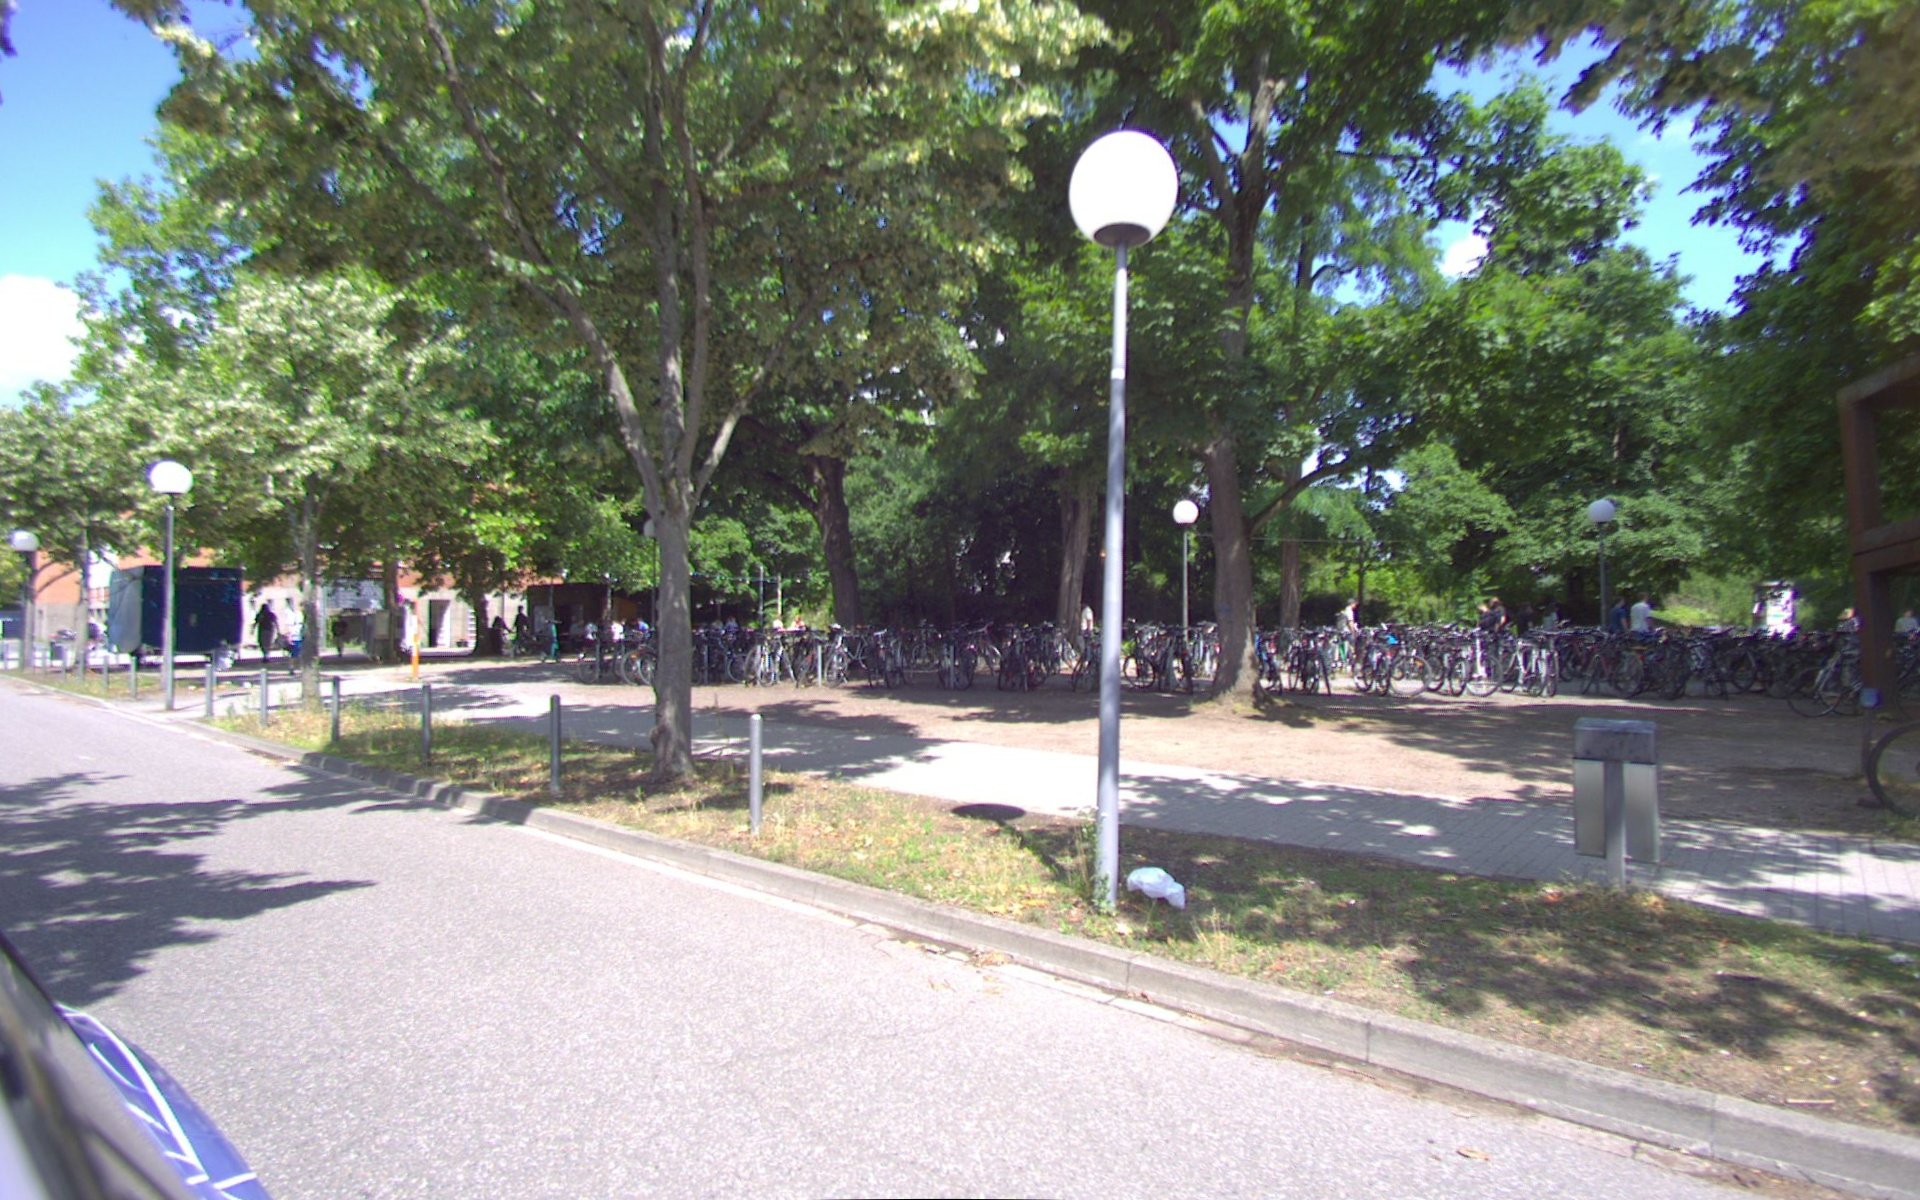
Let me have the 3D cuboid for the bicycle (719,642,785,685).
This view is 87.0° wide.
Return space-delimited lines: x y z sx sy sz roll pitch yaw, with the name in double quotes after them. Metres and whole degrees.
-5.412 1.640 26.462 0.535 1.035 1.947 -1 -1 30 "bicycle"

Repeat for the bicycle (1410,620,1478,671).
11.257 1.039 23.642 0.726 1.117 2.300 -1 -1 7 "bicycle"

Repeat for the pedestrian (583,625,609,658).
-14.112 1.600 39.217 0.733 1.243 0.594 -2 -2 6 "pedestrian"

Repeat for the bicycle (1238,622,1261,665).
8.507 1.263 29.703 0.421 1.216 1.783 -1 -1 23 "bicycle"

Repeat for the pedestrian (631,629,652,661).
-13.399 1.894 42.525 0.559 1.333 0.638 -2 -3 42 "pedestrian"

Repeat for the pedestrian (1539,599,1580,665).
15.350 0.815 25.920 0.685 1.683 0.555 -1 -1 6 "pedestrian"

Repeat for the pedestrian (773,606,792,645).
-6.531 0.942 37.169 0.458 1.433 0.501 -1 -1 31 "pedestrian"

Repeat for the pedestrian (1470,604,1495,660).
14.593 0.885 28.253 0.481 1.538 0.408 -1 -1 10 "pedestrian"

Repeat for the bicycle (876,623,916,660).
-2.001 1.292 32.050 0.592 1.099 1.946 0 -1 18 "bicycle"

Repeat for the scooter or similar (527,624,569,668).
-12.198 1.341 29.950 1.241 1.255 0.691 -1 -1 41 "scooter or similar"

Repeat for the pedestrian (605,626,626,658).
-14.173 1.729 41.656 0.693 1.281 0.554 -2 -2 41 "pedestrian"

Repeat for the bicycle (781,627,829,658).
-5.078 1.381 33.256 0.544 0.949 1.866 0 -1 27 "bicycle"

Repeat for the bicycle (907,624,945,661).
-1.051 1.322 31.894 0.592 1.099 1.946 0 -1 18 "bicycle"

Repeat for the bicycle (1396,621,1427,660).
12.557 1.116 28.204 0.502 1.043 2.050 -1 -1 17 "bicycle"

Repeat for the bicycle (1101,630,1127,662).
4.690 1.383 30.751 0.416 0.900 1.755 -1 -1 20 "bicycle"

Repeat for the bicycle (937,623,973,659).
-0.141 1.287 32.175 0.592 1.099 1.946 0 -1 18 "bicycle"

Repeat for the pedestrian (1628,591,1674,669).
17.462 0.757 25.578 0.688 1.948 0.647 -1 -1 6 "pedestrian"

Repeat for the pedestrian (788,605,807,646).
-6.097 0.945 37.952 0.472 1.534 0.502 -1 -1 30 "pedestrian"

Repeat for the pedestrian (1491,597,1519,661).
14.800 0.786 27.490 0.539 1.727 0.412 -1 -1 10 "pedestrian"

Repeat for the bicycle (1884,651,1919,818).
6.853 0.840 6.118 1.807 1.033 0.379 -1 -2 29 "bicycle"

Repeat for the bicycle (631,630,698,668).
-8.244 1.357 28.318 0.537 1.022 1.783 -2 -2 43 "bicycle"

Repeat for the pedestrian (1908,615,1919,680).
30.258 1.499 31.775 0.525 2.029 0.577 0 -1 -35 "pedestrian"

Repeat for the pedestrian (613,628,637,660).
-14.263 1.874 43.054 0.778 1.333 0.680 -2 -3 42 "pedestrian"

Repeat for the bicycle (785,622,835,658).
-4.923 1.303 33.337 0.594 1.099 1.940 0 -1 27 "bicycle"

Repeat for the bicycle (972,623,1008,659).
0.962 1.274 31.953 0.592 1.099 1.946 0 -1 18 "bicycle"

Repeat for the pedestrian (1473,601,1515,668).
13.696 0.874 25.987 0.721 1.683 0.631 -1 -1 6 "pedestrian"

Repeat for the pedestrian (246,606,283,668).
-22.746 1.192 33.092 0.906 1.969 0.894 -1 0 -40 "pedestrian"

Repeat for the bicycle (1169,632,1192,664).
6.621 1.427 30.357 0.416 0.900 1.755 -1 -1 20 "bicycle"

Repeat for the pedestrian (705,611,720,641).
-9.716 1.014 39.712 0.505 1.148 0.333 -1 -1 30 "pedestrian"

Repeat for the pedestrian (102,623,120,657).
-45.961 2.144 54.768 0.917 1.793 0.570 -1 -2 40 "pedestrian"

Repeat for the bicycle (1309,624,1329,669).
10.317 1.313 29.059 0.421 1.216 1.783 -1 -1 23 "bicycle"

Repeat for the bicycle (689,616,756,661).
-6.304 1.012 26.954 0.535 1.134 1.947 -1 -1 30 "bicycle"

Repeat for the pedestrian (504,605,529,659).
-15.606 1.130 35.634 0.805 1.862 0.524 -2 -2 41 "pedestrian"

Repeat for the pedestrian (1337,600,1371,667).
10.046 0.843 25.808 0.623 1.683 0.577 -1 -1 6 "pedestrian"

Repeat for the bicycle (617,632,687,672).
-8.315 1.399 27.379 0.537 1.022 1.783 -2 -2 43 "bicycle"

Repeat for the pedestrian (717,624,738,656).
-9.062 1.551 39.401 0.728 1.203 0.388 -1 -1 32 "pedestrian"

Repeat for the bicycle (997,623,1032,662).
1.669 1.280 30.842 0.592 1.099 1.946 0 -1 18 "bicycle"

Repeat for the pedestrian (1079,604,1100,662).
3.669 0.940 28.743 0.345 1.626 0.463 0 -1 -33 "pedestrian"

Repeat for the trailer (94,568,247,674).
-25.138 0.659 32.114 6.262 3.049 2.669 -2 -1 41 "trailer"

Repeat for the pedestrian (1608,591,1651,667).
17.510 0.749 26.463 0.673 1.948 0.621 -1 -1 6 "pedestrian"

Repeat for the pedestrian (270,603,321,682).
-15.816 0.997 24.089 0.986 1.844 0.791 -2 -2 41 "pedestrian"

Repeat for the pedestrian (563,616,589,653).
-14.825 1.332 39.104 0.733 1.380 0.594 -2 -2 6 "pedestrian"

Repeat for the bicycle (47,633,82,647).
-68.241 3.021 77.135 0.541 1.038 1.931 -2 -2 39 "bicycle"

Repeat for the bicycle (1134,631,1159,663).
5.642 1.416 30.567 0.416 0.900 1.755 -1 -1 20 "bicycle"

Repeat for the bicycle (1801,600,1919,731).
11.133 0.748 12.009 0.600 1.461 2.285 0 -1 7 "bicycle"

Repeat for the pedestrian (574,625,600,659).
-14.225 1.590 38.604 0.733 1.243 0.594 -2 -2 6 "pedestrian"

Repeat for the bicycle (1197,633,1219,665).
7.382 1.445 30.090 0.416 0.900 1.755 -1 -1 20 "bicycle"

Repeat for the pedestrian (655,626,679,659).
-11.558 1.674 39.928 0.764 1.260 0.565 -1 -1 29 "pedestrian"

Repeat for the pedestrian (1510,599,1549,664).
14.969 0.823 26.617 0.695 1.683 0.555 -1 -1 6 "pedestrian"

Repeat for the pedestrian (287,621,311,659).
-27.462 1.656 42.044 0.499 1.521 0.735 -2 -1 41 "pedestrian"

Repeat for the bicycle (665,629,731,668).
-7.092 1.299 27.472 0.535 1.011 1.947 -1 -1 30 "bicycle"

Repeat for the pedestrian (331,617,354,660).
-24.494 1.531 40.139 0.643 1.678 0.623 -2 -1 42 "pedestrian"

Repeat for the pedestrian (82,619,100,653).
-46.521 1.933 54.184 0.805 1.775 0.557 -1 -2 40 "pedestrian"

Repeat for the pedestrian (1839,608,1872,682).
24.955 1.236 28.203 0.525 2.029 0.521 0 -1 -35 "pedestrian"

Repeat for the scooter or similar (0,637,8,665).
-41.272 2.179 43.328 0.556 1.158 1.352 1 -2 -37 "scooter or similar"

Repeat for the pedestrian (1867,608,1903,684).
25.276 1.246 27.650 0.525 2.029 0.594 0 -1 -35 "pedestrian"
